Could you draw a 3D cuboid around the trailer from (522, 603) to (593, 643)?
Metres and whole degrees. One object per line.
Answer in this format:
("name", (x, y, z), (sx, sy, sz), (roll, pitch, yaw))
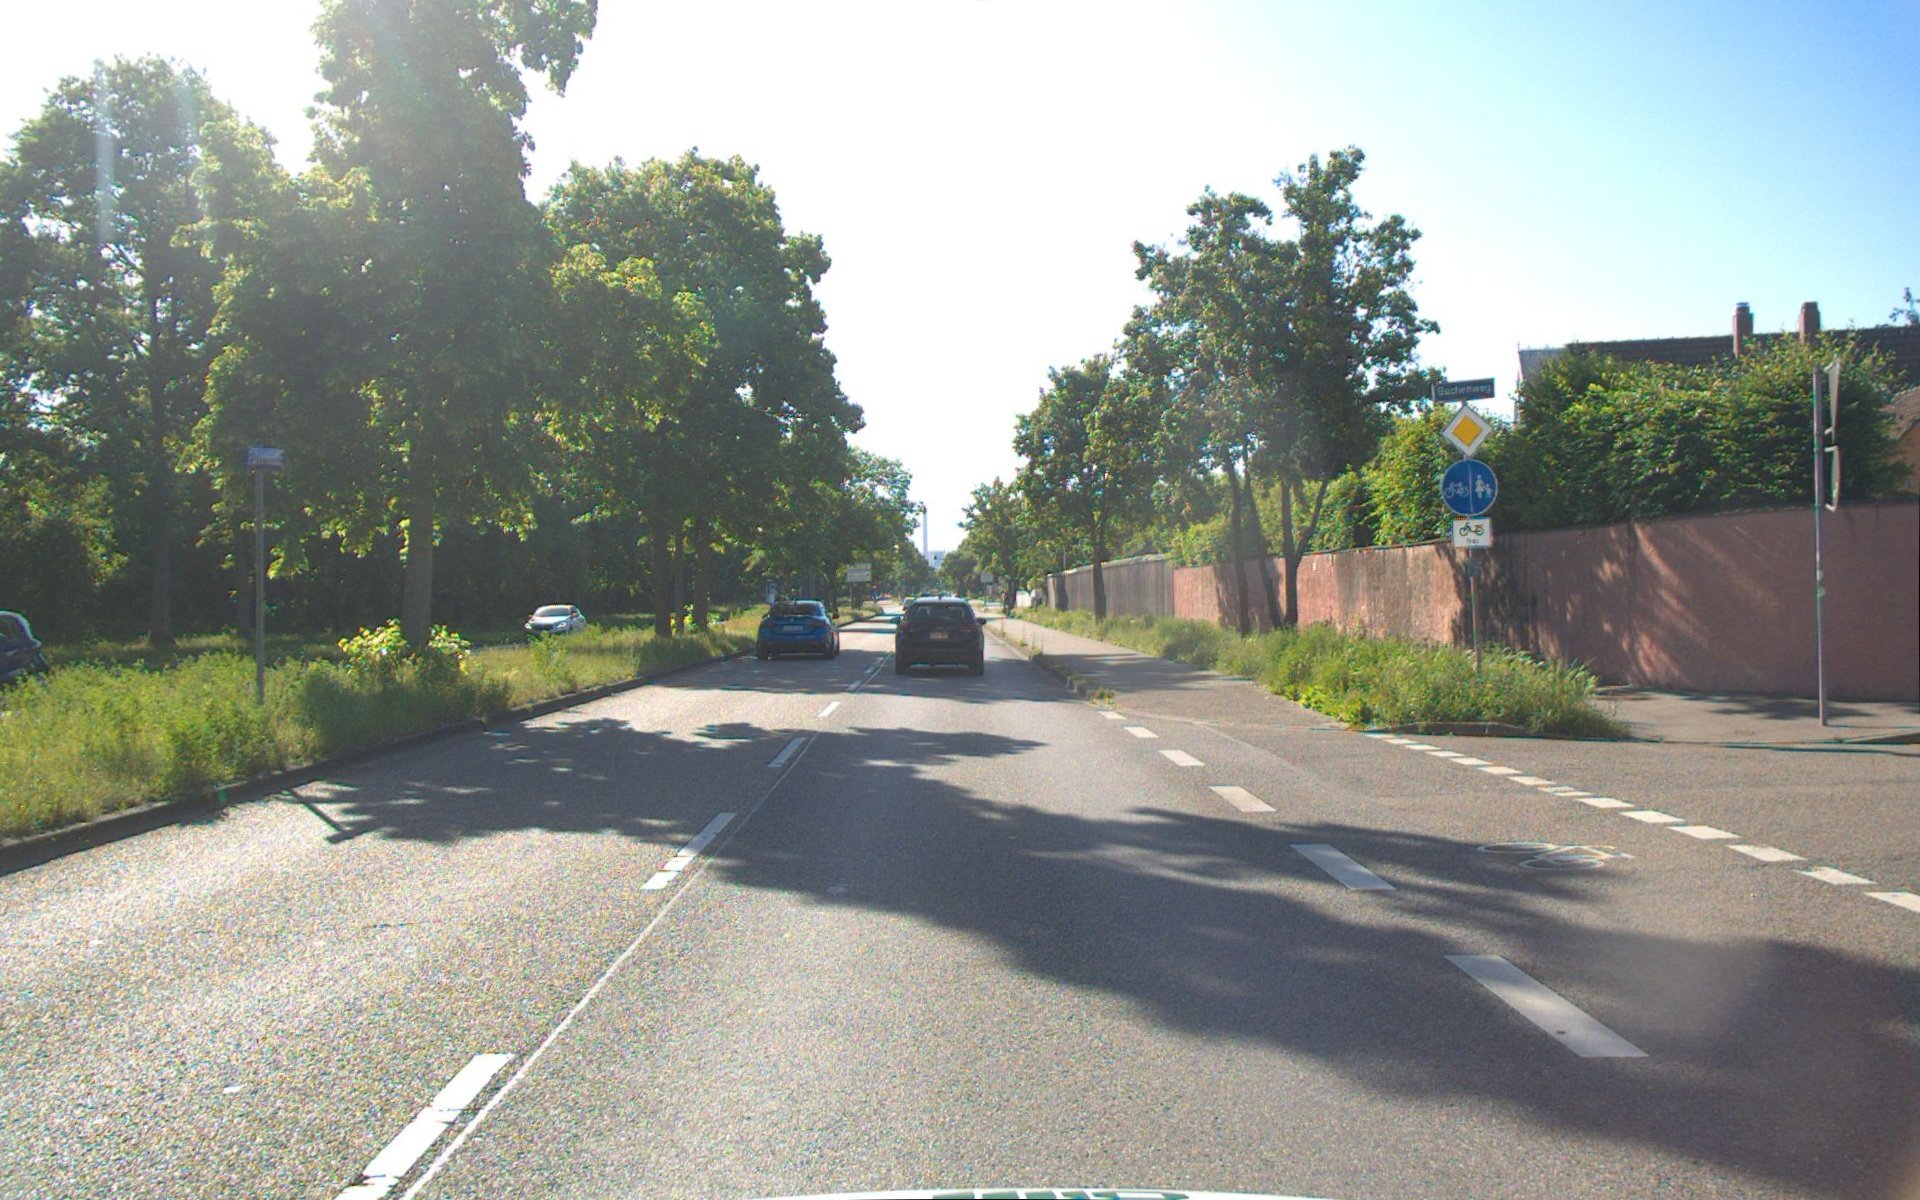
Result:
("trailer", (-15.986, 0.885, 65.929), (1.705, 1.449, 4.496), (-3, 0, 0))

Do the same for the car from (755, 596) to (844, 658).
("car", (-3.965, 0.645, 41.444), (1.954, 1.429, 3.999), (-1, 0, -2))

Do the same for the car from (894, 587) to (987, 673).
("car", (-0.360, 0.564, 33.093), (1.724, 1.586, 4.000), (1, 0, 0))

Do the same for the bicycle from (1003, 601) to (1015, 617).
("bicycle", (2.915, 0.520, 98.721), (0.642, 0.908, 1.874), (0, 0, -1))

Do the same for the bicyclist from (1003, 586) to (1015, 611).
("bicyclist", (2.923, -0.088, 98.687), (0.666, 1.443, 0.812), (0, 0, -1))

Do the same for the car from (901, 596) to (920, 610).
("car", (-5.678, 0.346, 189.069), (1.939, 1.465, 3.997), (-1, 1, -5))

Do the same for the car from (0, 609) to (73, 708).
("car", (-16.104, 0.977, 26.989), (1.681, 1.531, 3.014), (-3, 1, -3))

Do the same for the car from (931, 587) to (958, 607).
("car", (-1.212, -0.251, 127.407), (1.938, 1.465, 3.999), (-1, 1, -2))
